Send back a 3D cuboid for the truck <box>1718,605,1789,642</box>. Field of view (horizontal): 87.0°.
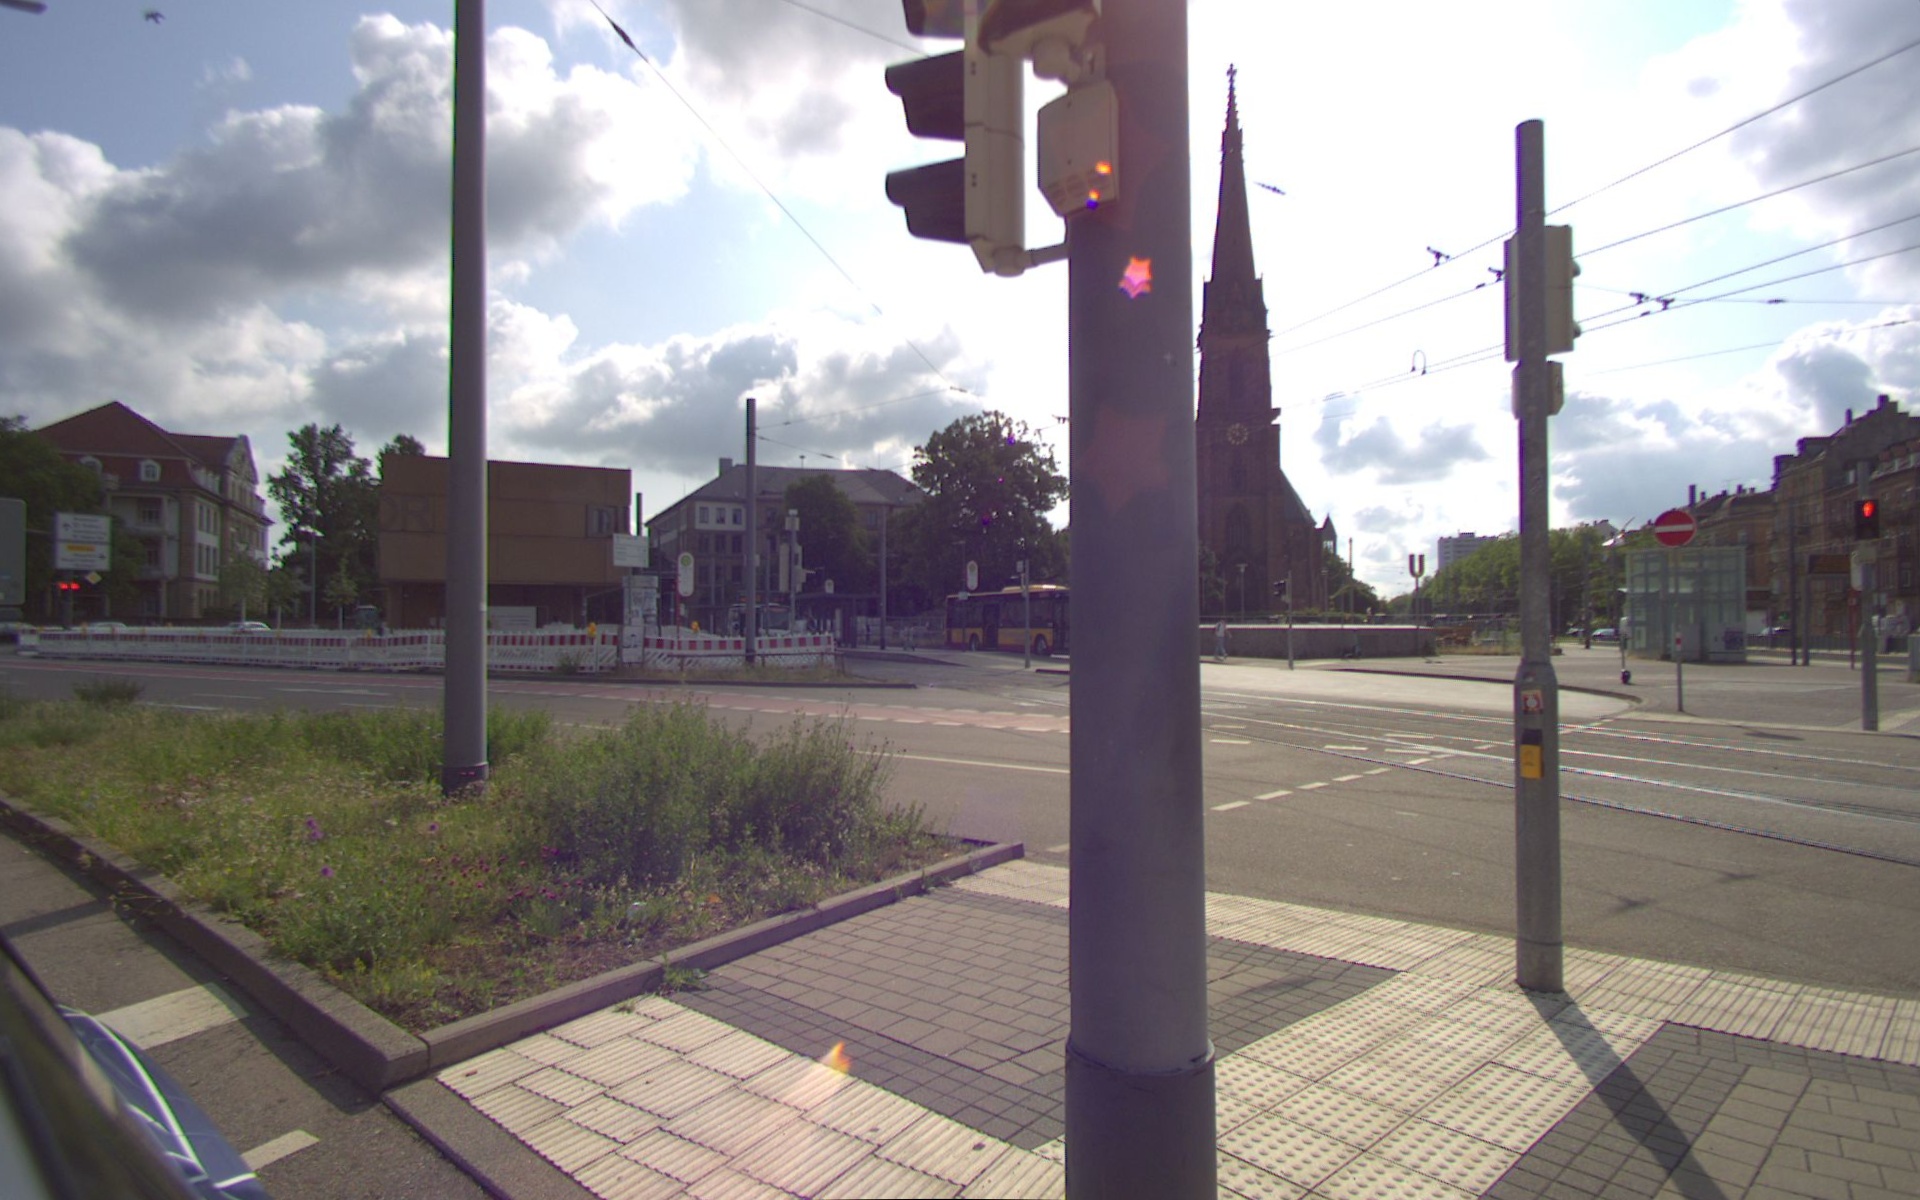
[{"bbox_3d":[75.206,2.261,96.097,3.158,3.311,7.244,-2,-2,21],"label":"truck"}]

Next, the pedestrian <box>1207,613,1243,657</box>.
[{"bbox_3d":[11.056,1.447,42.256,0.914,1.702,1.101,-4,3,-28],"label":"pedestrian"}]

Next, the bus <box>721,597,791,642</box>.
[{"bbox_3d":[-17.327,1.611,85.176,2.913,3.534,12.294,0,-1,-25],"label":"bus"}]

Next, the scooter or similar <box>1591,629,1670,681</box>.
[{"bbox_3d":[16.311,1.320,24.673,1.330,1.198,1.483,-1,-1,23],"label":"scooter or similar"}]

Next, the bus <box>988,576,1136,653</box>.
[{"bbox_3d":[3.949,0.630,41.029,2.653,2.855,7.123,0,-2,-25],"label":"bus"}]

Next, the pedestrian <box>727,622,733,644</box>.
[{"bbox_3d":[-16.607,2.379,73.082,0.352,1.614,0.365,1,-2,-32],"label":"pedestrian"}]

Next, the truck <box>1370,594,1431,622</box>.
[{"bbox_3d":[61.046,1.110,140.490,7.388,3.676,2.456,-2,-3,18],"label":"truck"}]

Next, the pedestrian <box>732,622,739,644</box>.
[{"bbox_3d":[-16.243,2.376,73.210,0.352,1.614,0.365,1,-2,-32],"label":"pedestrian"}]

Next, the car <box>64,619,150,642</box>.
[{"bbox_3d":[-54.217,1.940,64.425,1.739,1.401,4.119,0,-2,8],"label":"car"}]

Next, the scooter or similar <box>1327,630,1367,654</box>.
[{"bbox_3d":[15.560,1.687,40.730,1.634,0.957,0.475,0,-2,-24],"label":"scooter or similar"}]

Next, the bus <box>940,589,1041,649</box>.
[{"bbox_3d":[1.322,0.880,46.577,2.655,2.607,5.094,0,-2,-25],"label":"bus"}]

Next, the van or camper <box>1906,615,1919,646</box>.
[{"bbox_3d":[60.552,1.889,61.947,1.998,1.929,4.498,-1,-1,16],"label":"van or camper"}]

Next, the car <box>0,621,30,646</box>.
[{"bbox_3d":[-55.273,1.901,56.955,1.739,1.401,4.119,0,-2,8],"label":"car"}]
